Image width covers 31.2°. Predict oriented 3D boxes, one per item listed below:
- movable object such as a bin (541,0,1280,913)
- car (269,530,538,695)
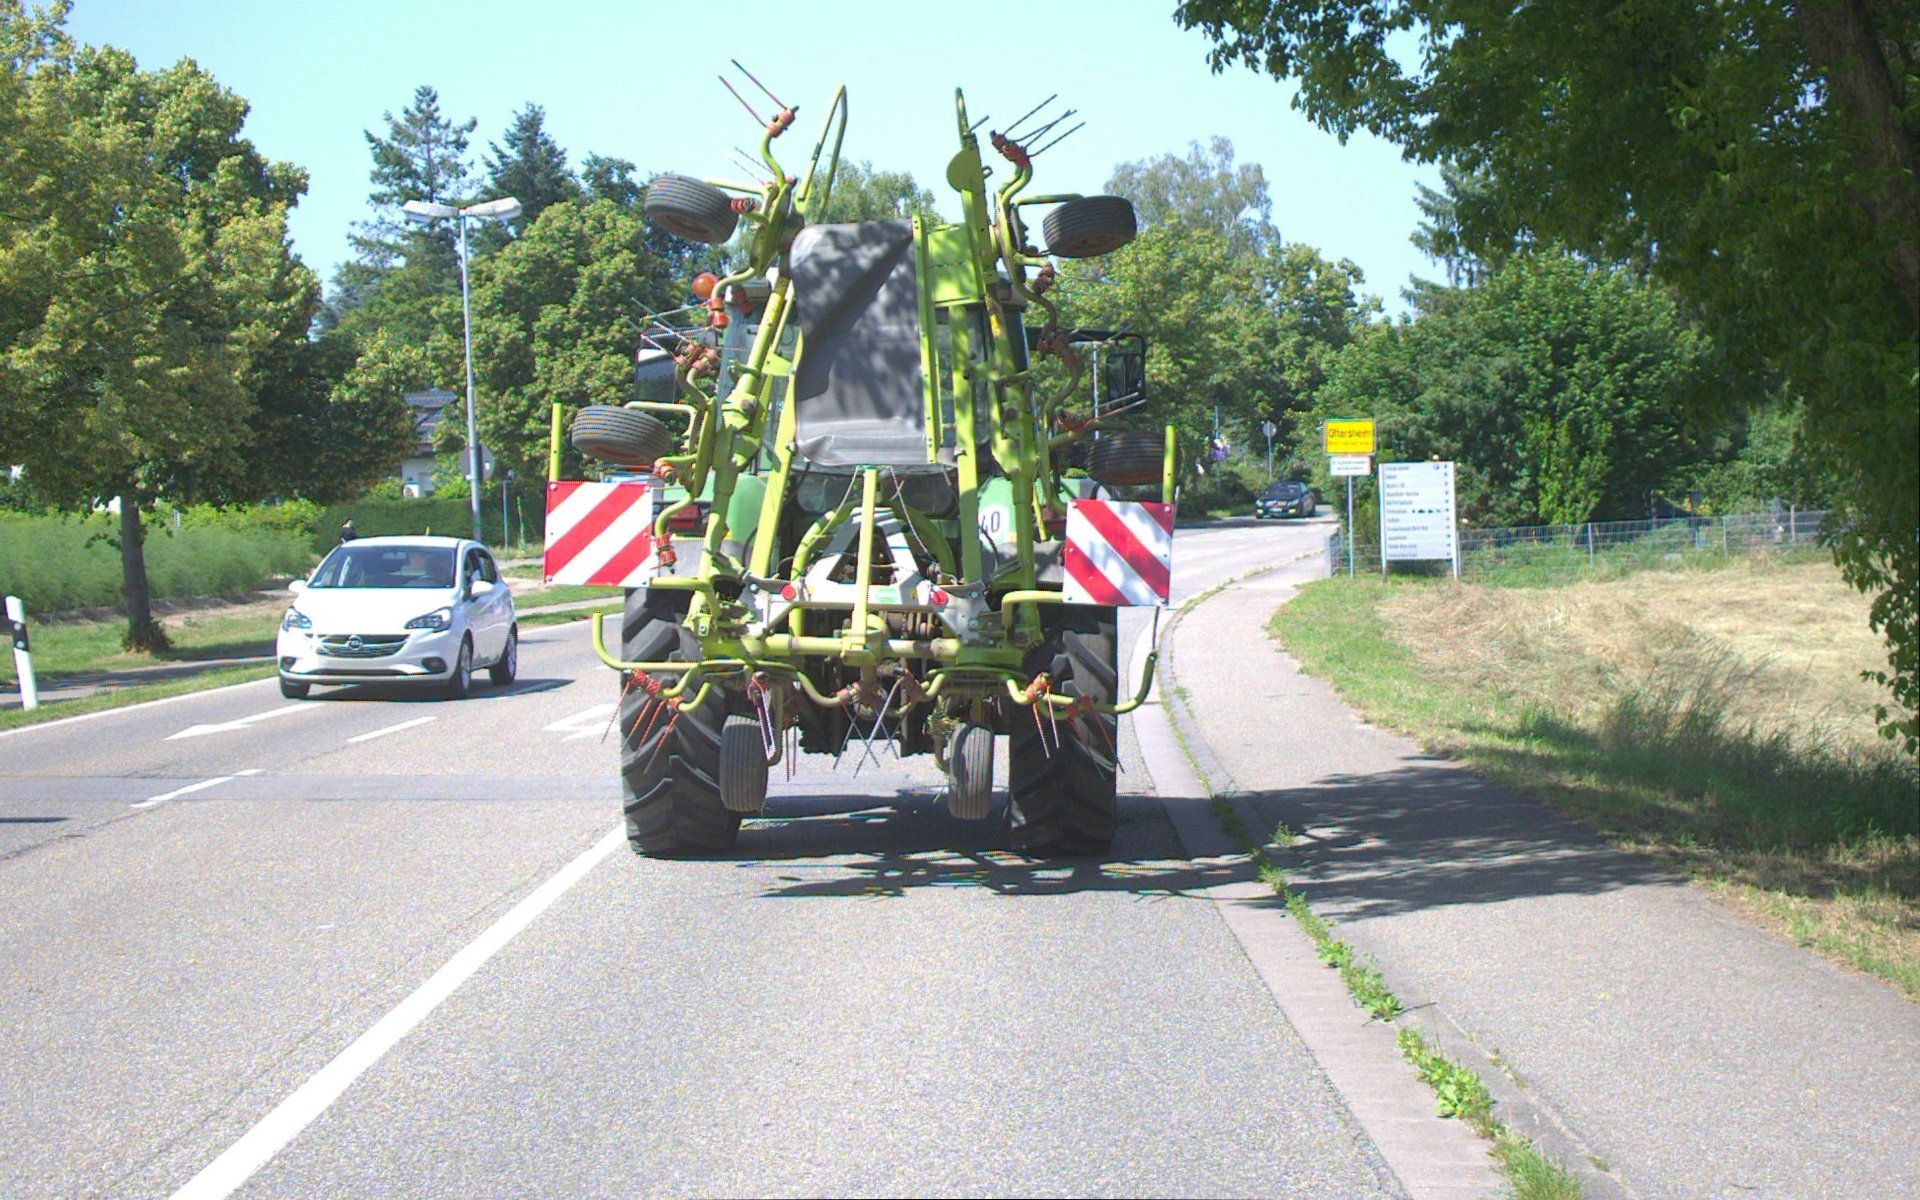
[{"bbox_3d":[-0.328,-0.646,18.156,2.852,3.529,9.702,0,1,-2],"label":"movable object such as a bin"},{"bbox_3d":[-5.195,0.072,32.535,1.649,1.429,3.896,1,1,4],"label":"car"}]
